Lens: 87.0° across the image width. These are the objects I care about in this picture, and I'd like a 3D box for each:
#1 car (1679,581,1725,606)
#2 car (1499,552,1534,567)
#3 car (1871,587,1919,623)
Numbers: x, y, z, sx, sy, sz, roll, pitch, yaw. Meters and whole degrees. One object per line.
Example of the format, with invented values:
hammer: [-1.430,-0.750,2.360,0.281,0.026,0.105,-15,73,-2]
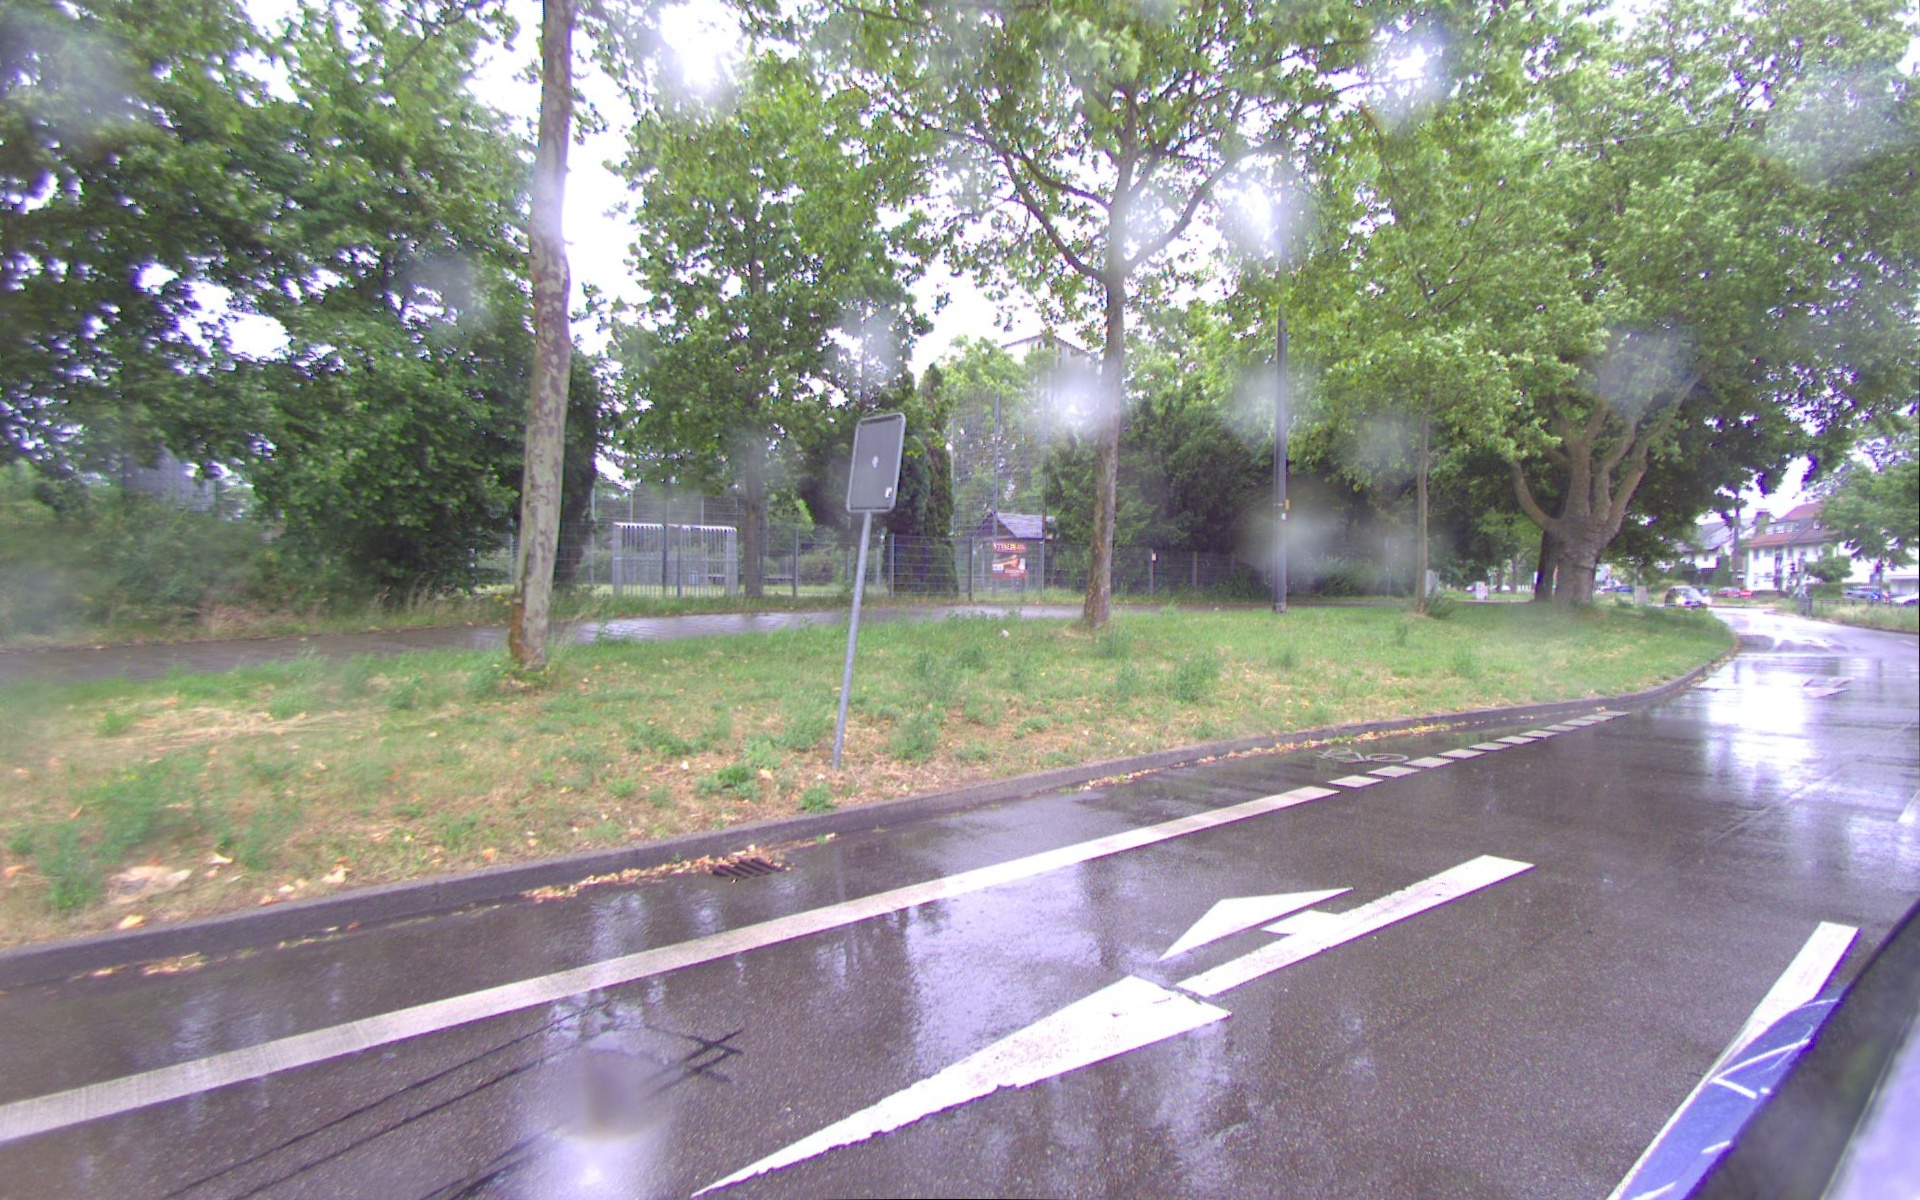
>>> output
car: [49.063,-0.450,66.948,1.855,1.638,3.773,0,0,27]
car: [73.652,-5.314,134.027,3.958,1.850,1.983,0,0,25]
car: [39.382,0.182,40.629,4.025,1.438,1.652,0,0,39]
